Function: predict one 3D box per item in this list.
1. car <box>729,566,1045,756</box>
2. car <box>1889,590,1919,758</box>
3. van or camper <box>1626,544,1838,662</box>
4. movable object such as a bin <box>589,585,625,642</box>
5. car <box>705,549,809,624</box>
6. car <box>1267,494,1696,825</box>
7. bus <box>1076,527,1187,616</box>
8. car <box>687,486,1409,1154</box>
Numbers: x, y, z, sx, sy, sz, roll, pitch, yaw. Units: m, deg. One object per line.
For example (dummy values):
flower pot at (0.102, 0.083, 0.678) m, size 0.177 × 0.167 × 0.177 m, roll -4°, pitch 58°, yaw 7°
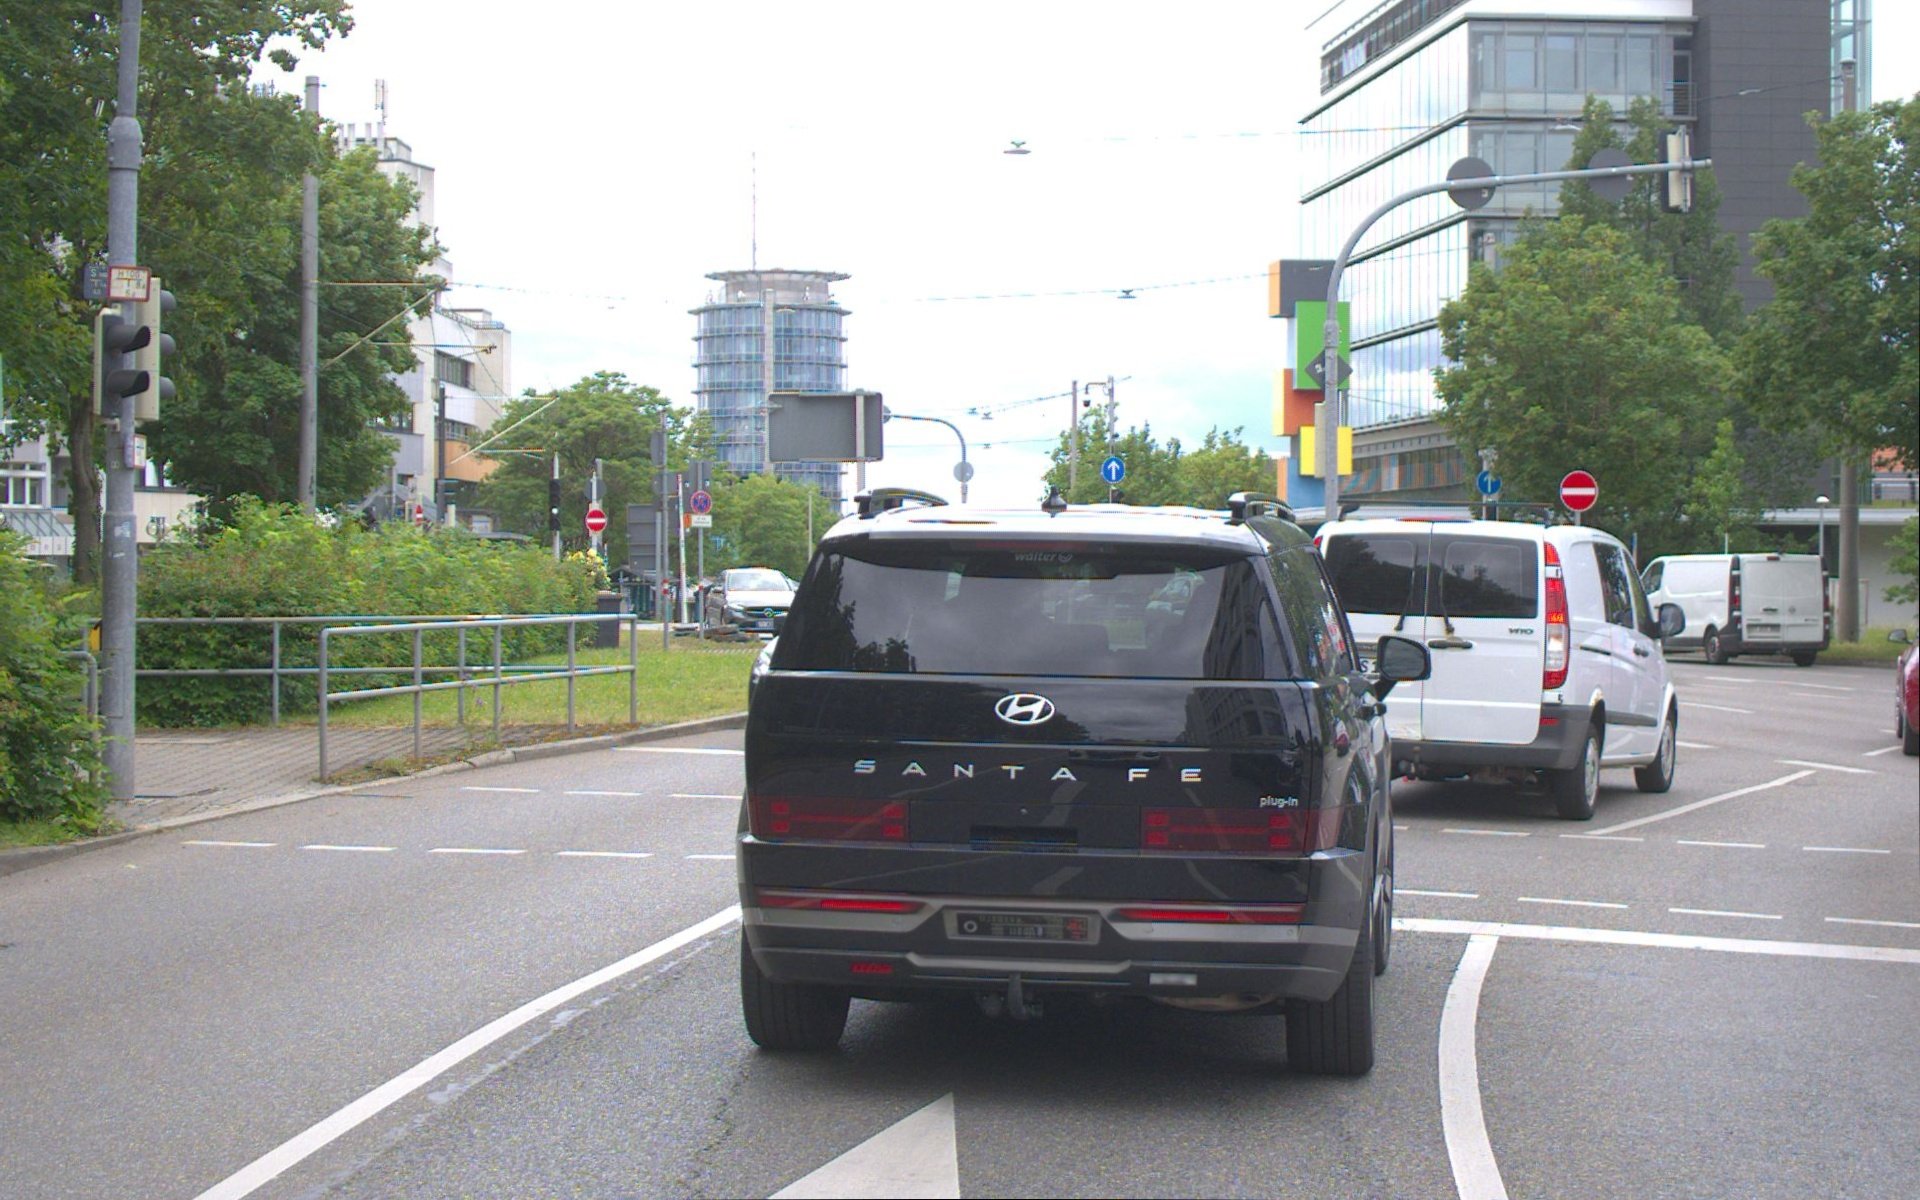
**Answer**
car at (-0.507, 0.448, 28.659) m, size 1.846 × 1.432 × 4.704 m, roll -1°, pitch 1°, yaw 9°
car at (9.436, 0.648, 31.100) m, size 1.874 × 1.413 × 4.439 m, roll 2°, pitch 1°, yaw 16°
van or camper at (13.555, 0.016, 60.626) m, size 1.993 × 1.911 × 4.410 m, roll 1°, pitch 2°, yaw -11°
movable object such as a bin at (-6.280, 0.235, 61.222) m, size 0.563 × 1.009 × 0.838 m, roll 1°, pitch 0°, yaw -10°
car at (-4.573, -0.327, 77.021) m, size 1.782 × 1.532 × 4.397 m, roll 2°, pitch 1°, yaw -10°
car at (3.661, 0.348, 23.369) m, size 1.904 × 1.962 × 4.631 m, roll 2°, pitch 1°, yaw 21°
bus at (6.191, -1.007, 125.725) m, size 2.966 × 3.106 × 9.245 m, roll -1°, pitch 0°, yaw -4°
car at (0.495, 0.562, 11.485) m, size 1.902 × 1.725 × 4.445 m, roll 2°, pitch 1°, yaw 7°
